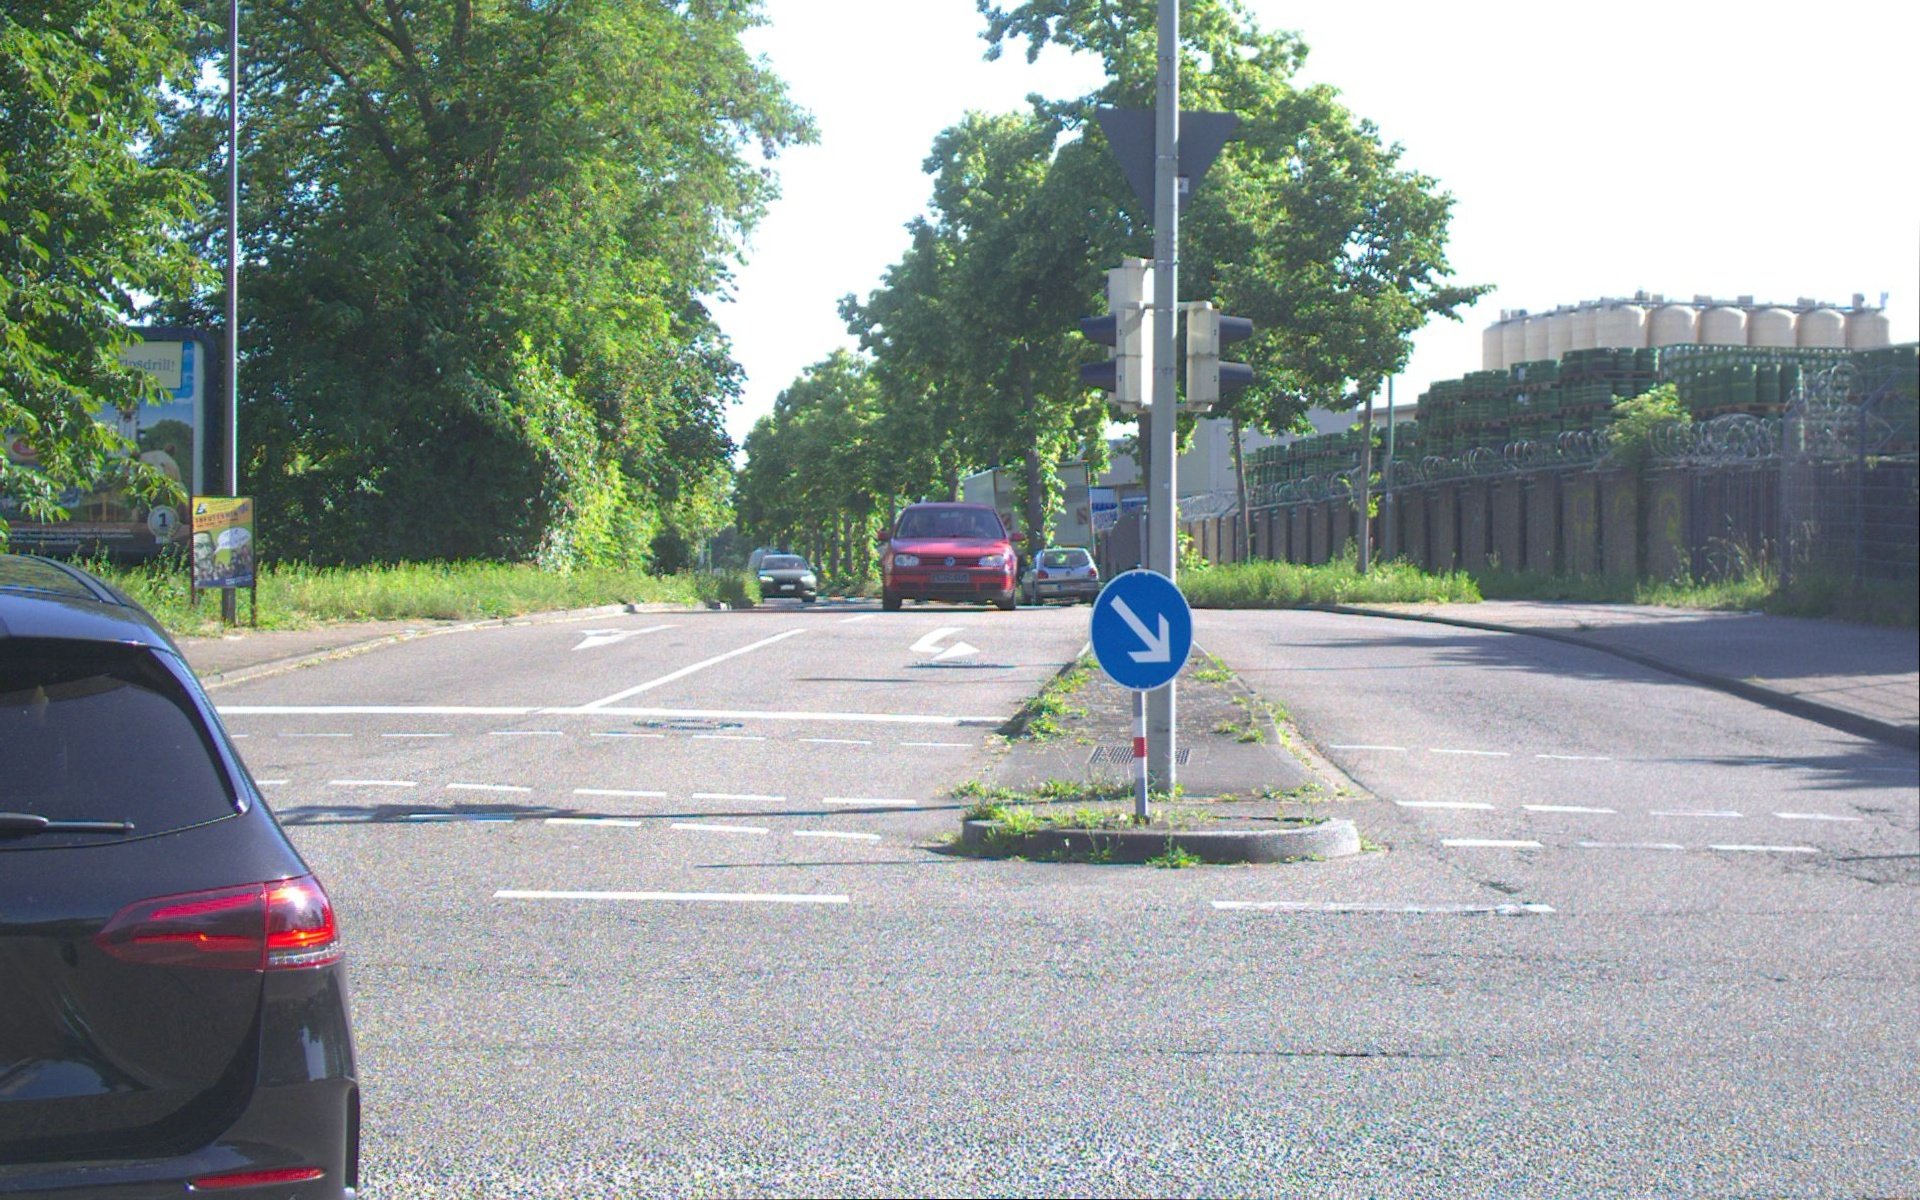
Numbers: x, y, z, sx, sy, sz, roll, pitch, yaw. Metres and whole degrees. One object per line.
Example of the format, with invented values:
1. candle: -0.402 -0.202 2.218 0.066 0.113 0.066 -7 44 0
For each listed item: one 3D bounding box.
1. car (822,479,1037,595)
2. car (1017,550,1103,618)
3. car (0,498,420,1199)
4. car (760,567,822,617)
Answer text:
1. car: -0.459 -0.817 45.326 1.857 1.464 4.140 0 1 -15
2. car: 2.427 -0.392 83.997 1.688 1.626 3.131 0 1 -6
3. car: -2.593 0.603 6.984 1.769 1.587 3.990 0 1 -28
4. car: -5.144 -0.249 104.334 1.857 1.464 4.139 0 1 -3
